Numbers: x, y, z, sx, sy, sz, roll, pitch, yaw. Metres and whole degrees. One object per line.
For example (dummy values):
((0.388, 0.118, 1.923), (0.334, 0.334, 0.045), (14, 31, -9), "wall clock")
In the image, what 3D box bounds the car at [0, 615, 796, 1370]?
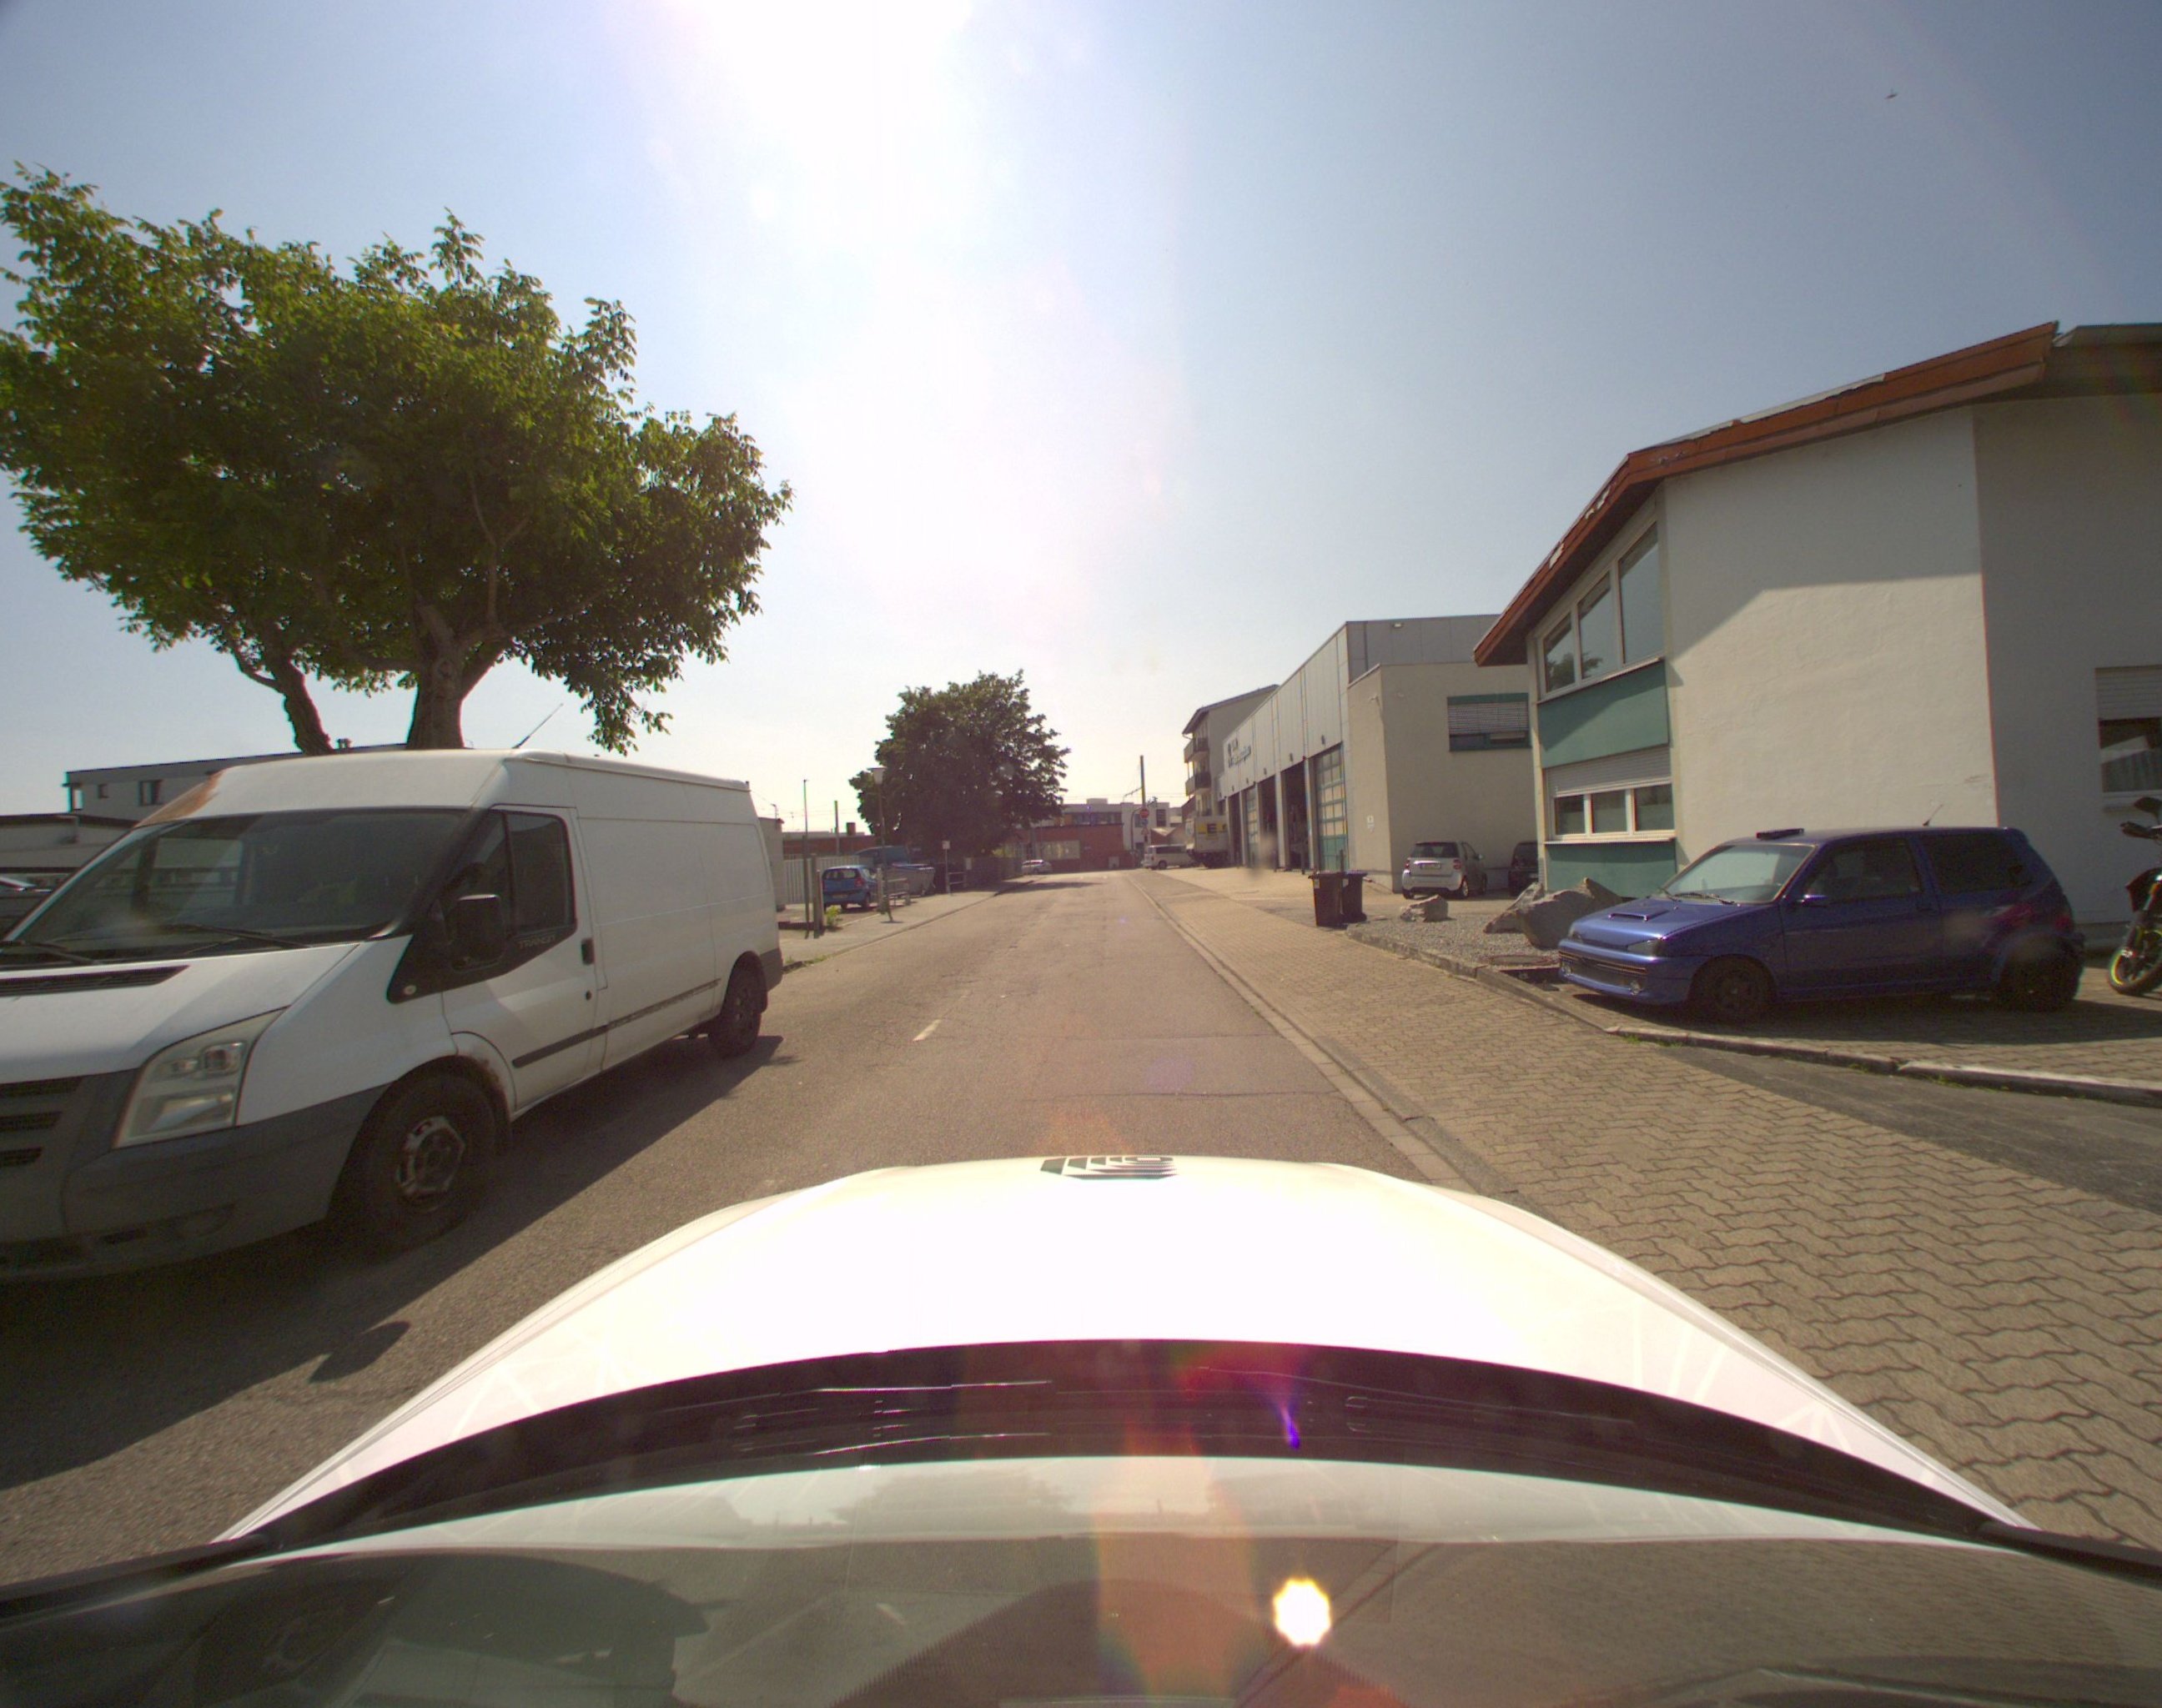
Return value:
((-3.809, 0.504, 5.209), (1.999, 2.366, 5.228), (-4, -1, 0), "car")

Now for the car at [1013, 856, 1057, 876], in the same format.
((-4.578, 1.195, 81.163), (3.906, 1.685, 1.909), (-4, 0, 31), "car")

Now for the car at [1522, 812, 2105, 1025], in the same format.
((5.742, 0.475, 6.734), (3.241, 1.399, 1.674), (-3, -1, 1), "car")

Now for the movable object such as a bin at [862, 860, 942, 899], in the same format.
((-7.858, 1.113, 35.985), (2.612, 1.510, 2.734), (-3, 0, 7), "movable object such as a bin")

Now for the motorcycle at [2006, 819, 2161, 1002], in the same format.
((8.549, 0.382, 6.402), (1.748, 1.279, 0.794), (-4, -1, -8), "motorcycle")

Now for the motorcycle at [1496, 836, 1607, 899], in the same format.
((12.773, 0.326, 22.012), (1.756, 1.492, 3.631), (-4, -1, 43), "motorcycle")

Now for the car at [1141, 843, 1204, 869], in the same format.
((7.459, 0.180, 66.346), (4.666, 1.958, 1.905), (-2, -1, -18), "car")

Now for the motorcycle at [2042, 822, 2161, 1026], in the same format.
((7.810, 0.402, 5.411), (1.864, 1.279, 0.796), (-4, -1, -2), "motorcycle")

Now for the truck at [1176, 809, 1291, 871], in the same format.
((10.770, -0.945, 57.892), (7.347, 3.645, 2.763), (-5, 0, -5), "truck")

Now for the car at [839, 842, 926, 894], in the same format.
((-10.496, 0.740, 43.187), (4.073, 2.513, 1.776), (-2, -1, -1), "car")

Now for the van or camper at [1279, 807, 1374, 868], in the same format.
((14.150, -0.929, 47.065), (4.743, 3.288, 1.998), (-2, -1, -2), "van or camper")

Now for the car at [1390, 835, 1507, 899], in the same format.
((10.174, 0.338, 22.409), (1.756, 1.540, 3.725), (-4, -1, 43), "car")

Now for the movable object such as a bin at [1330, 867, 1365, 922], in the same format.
((4.850, 0.730, 14.855), (0.510, 0.946, 0.489), (-3, -1, 13), "movable object such as a bin")

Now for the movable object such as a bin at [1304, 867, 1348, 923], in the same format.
((4.323, 0.722, 14.359), (0.562, 0.946, 0.561), (-3, -1, 35), "movable object such as a bin")

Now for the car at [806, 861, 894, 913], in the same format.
((-7.679, 1.062, 27.398), (1.808, 1.530, 3.674), (-3, -1, 0), "car")

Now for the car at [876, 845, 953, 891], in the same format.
((-9.776, 0.826, 48.000), (4.073, 2.513, 1.776), (-2, -1, -1), "car")
